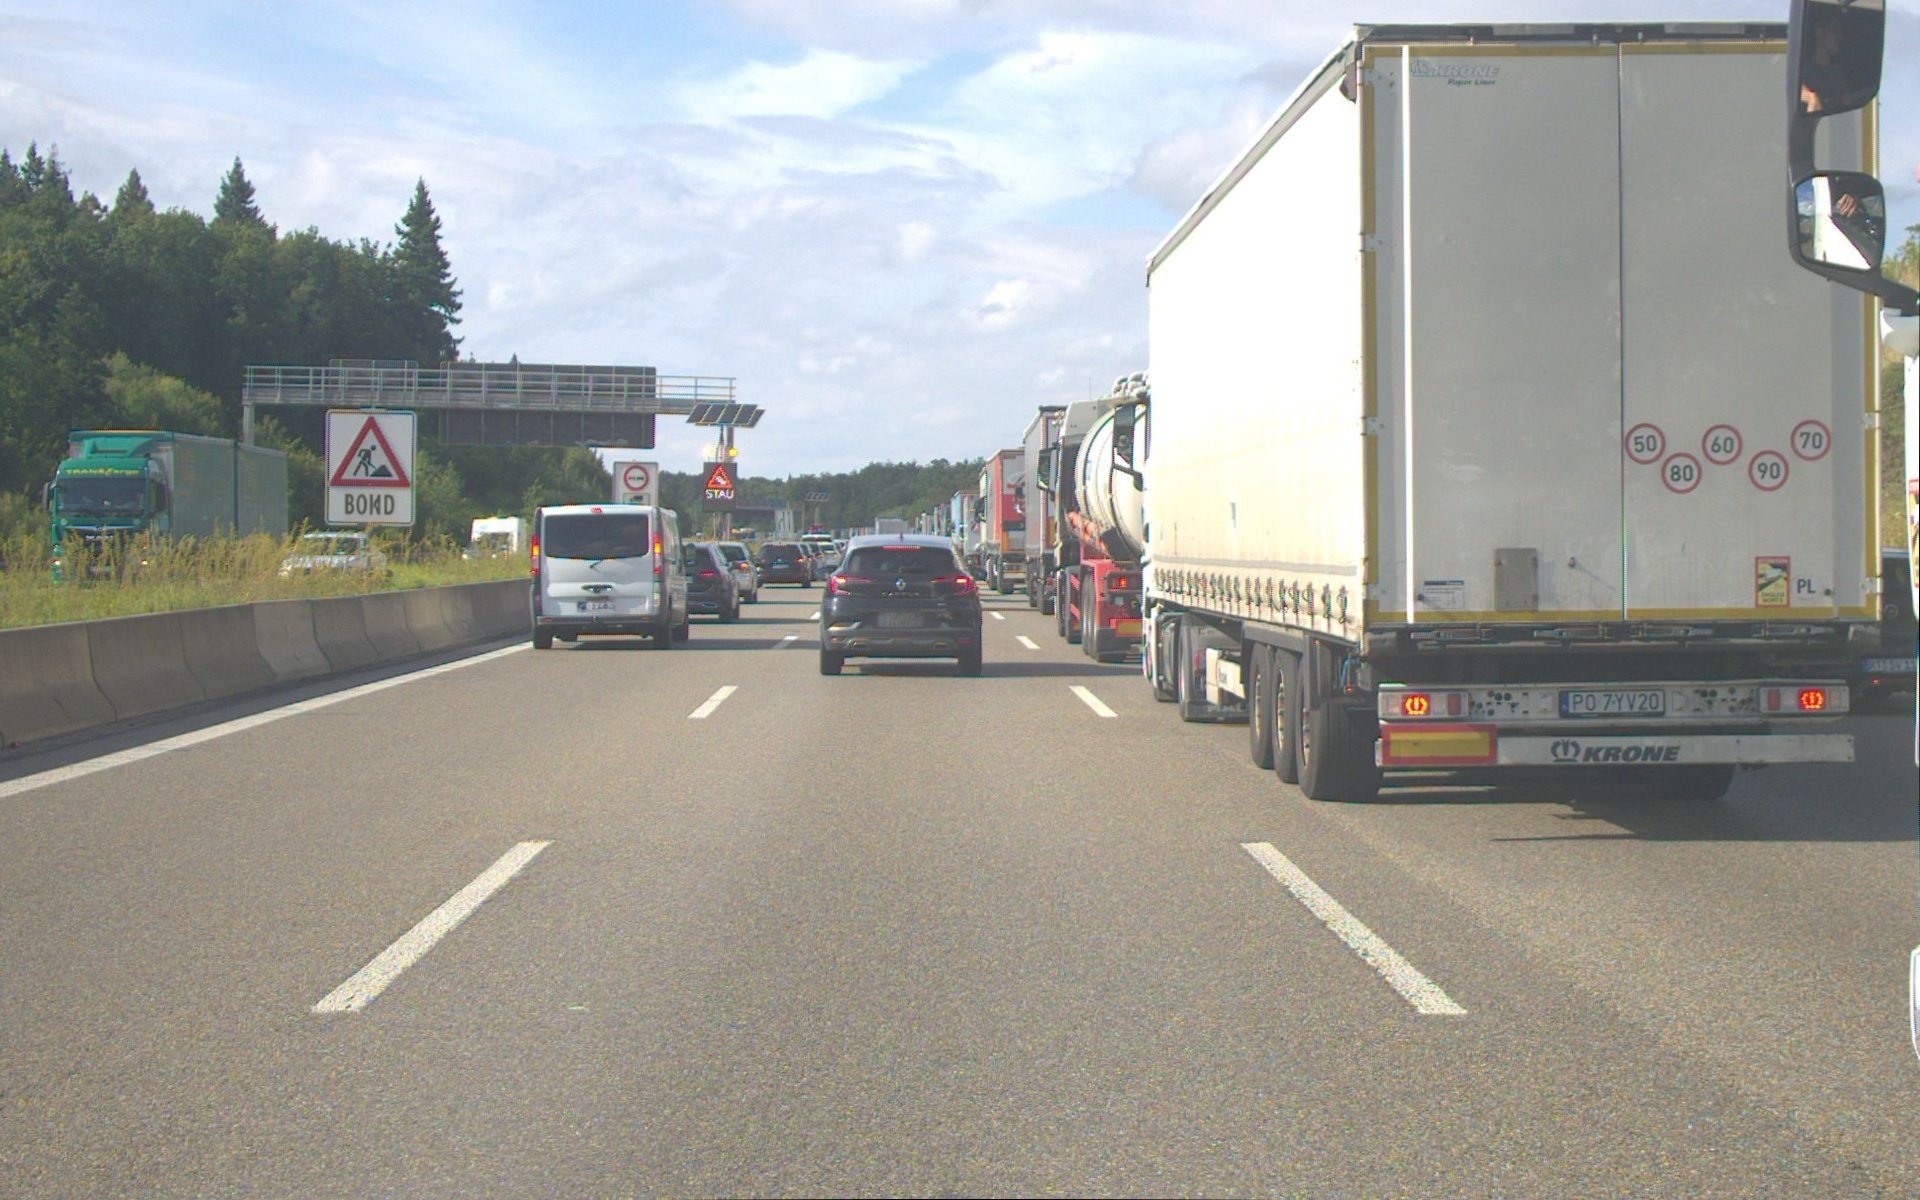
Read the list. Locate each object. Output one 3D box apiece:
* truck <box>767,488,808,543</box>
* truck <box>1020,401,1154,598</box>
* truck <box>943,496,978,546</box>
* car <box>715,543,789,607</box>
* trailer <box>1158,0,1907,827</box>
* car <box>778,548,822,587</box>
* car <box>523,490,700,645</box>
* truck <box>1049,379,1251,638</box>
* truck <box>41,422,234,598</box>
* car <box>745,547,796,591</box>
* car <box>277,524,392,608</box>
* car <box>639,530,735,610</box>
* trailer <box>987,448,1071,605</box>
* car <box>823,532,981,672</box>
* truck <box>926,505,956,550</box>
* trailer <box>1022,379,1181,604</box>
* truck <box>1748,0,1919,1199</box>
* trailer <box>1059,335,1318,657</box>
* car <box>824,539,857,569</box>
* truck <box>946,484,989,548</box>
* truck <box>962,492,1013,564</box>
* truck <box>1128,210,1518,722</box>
[{"bbox_3d":[-11.884,-5.810,236.884,2.344,3.582,6.306,3,1,-1],"label":"truck"},{"bbox_3d":[2.794,-2.193,77.141,2.786,4.232,6.459,0,1,0],"label":"truck"},{"bbox_3d":[0.013,-4.992,217.622,1.993,3.042,4.981,3,1,0],"label":"truck"},{"bbox_3d":[-4.895,-0.600,81.286,1.500,1.391,3.476,3,1,-1],"label":"car"},{"bbox_3d":[3.111,-1.081,22.886,2.703,4.068,12.945,0,1,-1],"label":"trailer"},{"bbox_3d":[-5.881,-1.203,126.333,1.434,1.305,3.533,3,1,-1],"label":"car"},{"bbox_3d":[-4.873,-0.464,48.711,1.933,1.972,5.099,3,1,-1],"label":"car"},{"bbox_3d":[2.708,-1.305,50.767,2.533,3.571,6.730,0,1,-1],"label":"truck"},{"bbox_3d":[-20.857,-2.230,87.814,2.711,4.229,10.345,0,1,-1],"label":"truck"},{"bbox_3d":[-6.048,-1.016,110.194,1.434,1.305,3.533,3,1,-1],"label":"car"},{"bbox_3d":[-13.179,-0.723,72.574,1.671,1.618,3.767,3,1,0],"label":"car"},{"bbox_3d":[-4.914,-0.550,62.087,1.500,1.391,3.476,0,1,-1],"label":"car"},{"bbox_3d":[1.902,-2.045,97.520,2.150,4.244,8.440,0,1,0],"label":"trailer"},{"bbox_3d":[-0.653,-0.021,39.213,1.696,1.478,4.160,1,1,-1],"label":"car"},{"bbox_3d":[-1.348,-5.115,244.481,1.993,3.042,4.981,3,1,0],"label":"truck"},{"bbox_3d":[2.757,-2.114,70.234,2.802,4.229,11.057,0,1,0],"label":"trailer"},{"bbox_3d":[3.359,-0.511,5.171,2.647,3.855,6.996,0,1,-1],"label":"truck"},{"bbox_3d":[2.744,-1.243,44.290,2.541,3.641,10.627,0,1,0],"label":"trailer"},{"bbox_3d":[-5.475,-2.117,157.385,1.361,1.296,3.085,3,1,-1],"label":"car"},{"bbox_3d":[0.367,-4.225,173.549,1.993,3.042,4.981,3,1,0],"label":"truck"},{"bbox_3d":[1.146,-3.065,147.489,1.993,2.922,4.981,3,1,0],"label":"truck"},{"bbox_3d":[3.033,-1.104,30.392,2.708,4.046,6.362,0,1,-1],"label":"truck"}]
